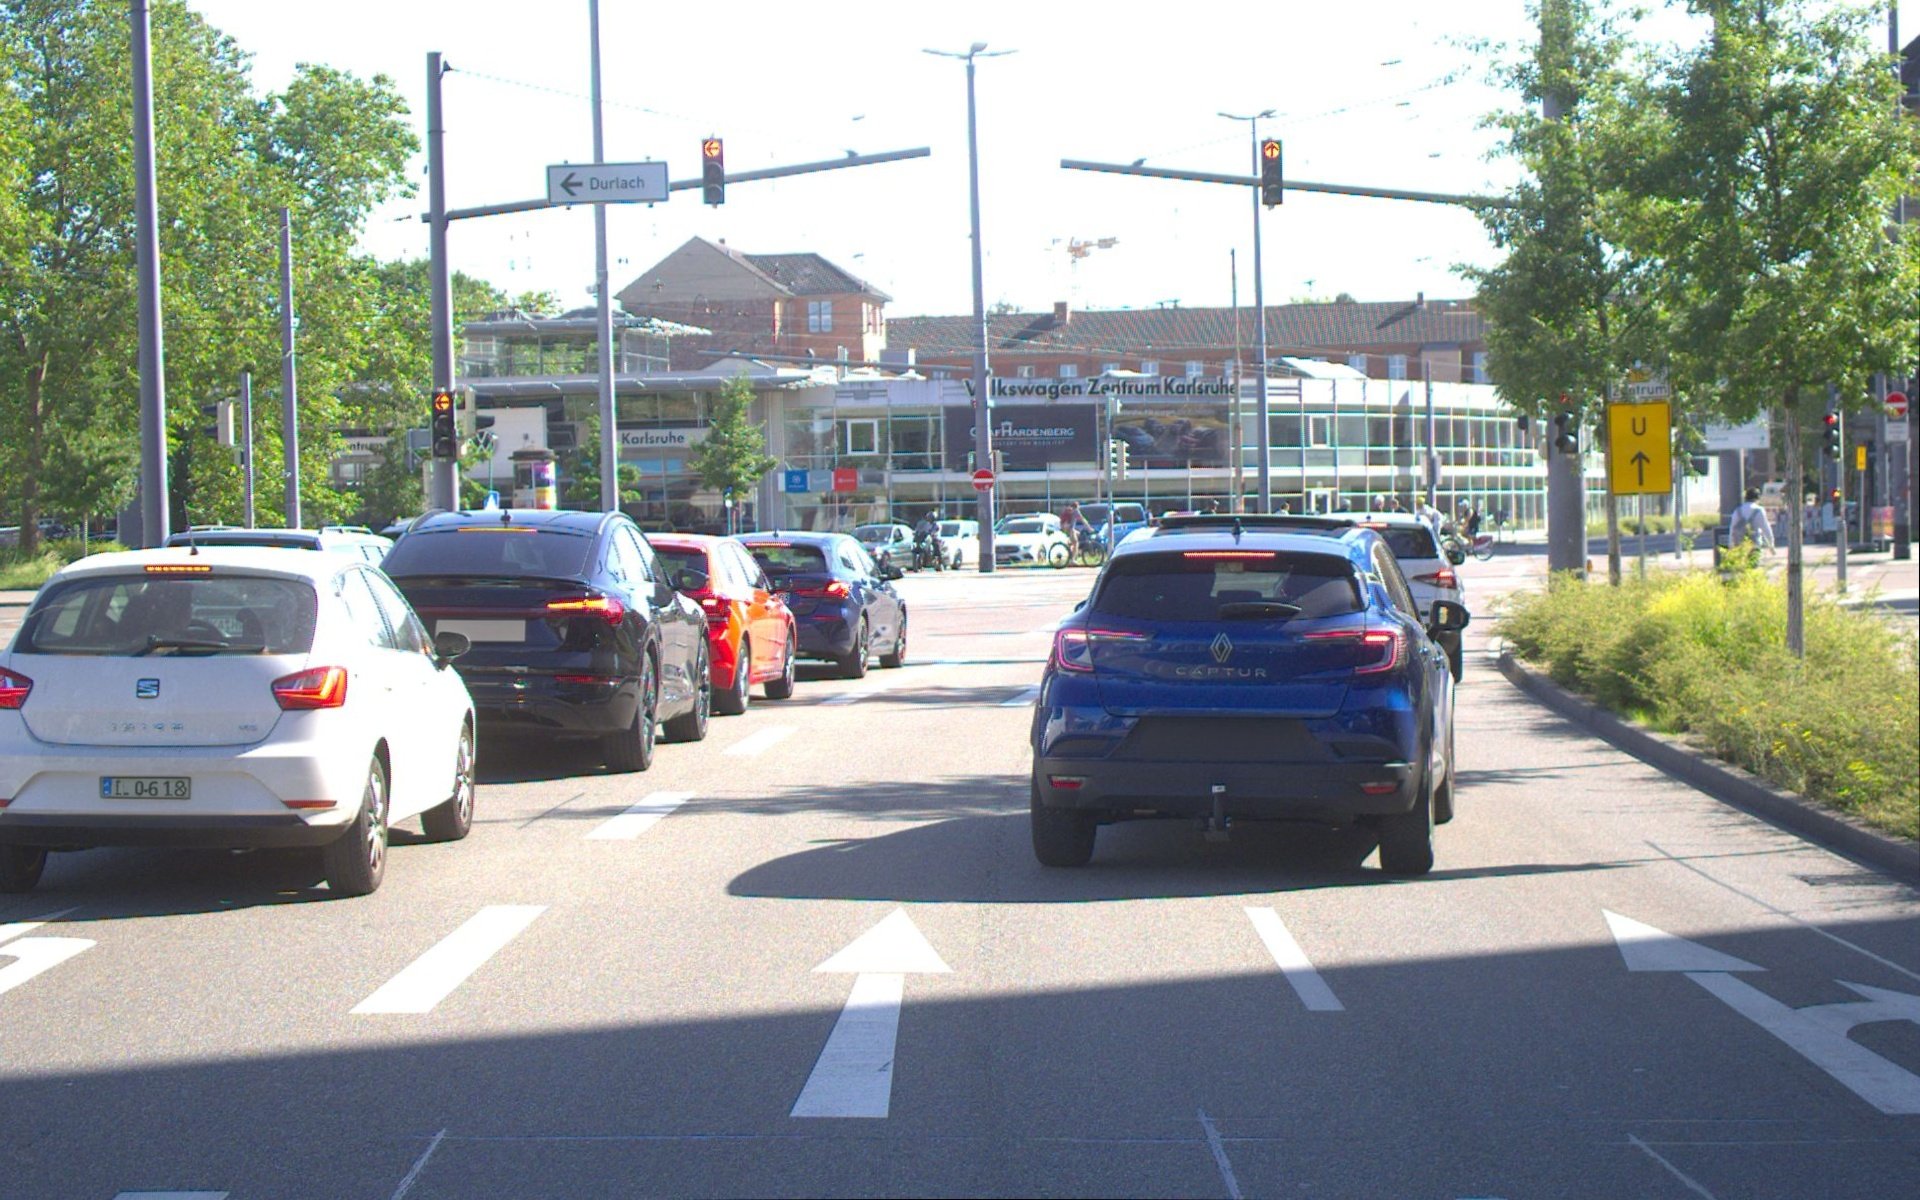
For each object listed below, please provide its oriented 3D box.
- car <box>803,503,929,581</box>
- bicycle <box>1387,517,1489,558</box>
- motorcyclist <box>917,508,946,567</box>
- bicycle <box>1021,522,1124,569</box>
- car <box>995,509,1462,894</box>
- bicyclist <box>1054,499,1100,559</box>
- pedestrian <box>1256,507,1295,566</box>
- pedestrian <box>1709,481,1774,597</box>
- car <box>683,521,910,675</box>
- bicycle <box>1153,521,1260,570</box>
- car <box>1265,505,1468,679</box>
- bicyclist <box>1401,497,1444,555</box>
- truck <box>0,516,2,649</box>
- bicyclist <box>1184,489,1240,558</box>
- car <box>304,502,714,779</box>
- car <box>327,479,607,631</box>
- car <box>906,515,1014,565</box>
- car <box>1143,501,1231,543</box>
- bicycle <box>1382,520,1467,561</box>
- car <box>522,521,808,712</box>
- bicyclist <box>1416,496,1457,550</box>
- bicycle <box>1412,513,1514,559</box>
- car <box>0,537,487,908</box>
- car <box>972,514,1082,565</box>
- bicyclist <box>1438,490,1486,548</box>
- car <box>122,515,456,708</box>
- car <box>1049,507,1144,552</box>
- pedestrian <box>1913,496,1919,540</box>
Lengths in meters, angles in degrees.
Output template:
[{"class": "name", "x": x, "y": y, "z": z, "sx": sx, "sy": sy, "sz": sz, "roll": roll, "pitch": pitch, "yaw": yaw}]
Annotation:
[{"class": "car", "x": -2.636, "y": -1.652, "z": 97.077, "sx": 1.996, "sy": 2.006, "sz": 3.996, "roll": 1, "pitch": 4, "yaw": 24}, {"class": "bicycle", "x": 12.999, "y": -1.704, "z": 93.532, "sx": 2.643, "sy": 1.091, "sz": 0.969, "roll": -1, "pitch": 1, "yaw": 1}, {"class": "motorcyclist", "x": -0.794, "y": -1.752, "z": 96.287, "sx": 0.550, "sy": 1.615, "sz": 0.744, "roll": 0, "pitch": 1, "yaw": 20}, {"class": "bicycle", "x": 3.050, "y": -1.487, "z": 93.518, "sx": 2.645, "sy": 1.184, "sz": 0.948, "roll": -1, "pitch": 4, "yaw": -12}, {"class": "car", "x": 1.414, "y": 0.380, "z": 16.641, "sx": 1.877, "sy": 1.612, "sz": 3.796, "roll": 1, "pitch": 2, "yaw": 10}, {"class": "bicyclist", "x": 3.178, "y": -1.923, "z": 93.506, "sx": 1.062, "sy": 1.578, "sz": 0.948, "roll": -1, "pitch": 3, "yaw": -12}, {"class": "pedestrian", "x": 8.838, "y": -1.782, "z": 96.219, "sx": 0.849, "sy": 1.605, "sz": 0.703, "roll": -3, "pitch": 5, "yaw": -43}, {"class": "pedestrian", "x": 11.770, "y": -0.915, "z": 51.753, "sx": 0.595, "sy": 1.717, "sz": 0.868, "roll": -1, "pitch": -1, "yaw": 42}, {"class": "car", "x": -1.614, "y": -0.068, "z": 35.097, "sx": 1.725, "sy": 1.437, "sz": 3.798, "roll": 1, "pitch": 2, "yaw": 6}, {"class": "bicycle", "x": 6.503, "y": -1.443, "z": 90.754, "sx": 2.645, "sy": 1.184, "sz": 0.948, "roll": -2, "pitch": 4, "yaw": -19}, {"class": "car", "x": 4.063, "y": -0.117, "z": 34.108, "sx": 1.877, "sy": 1.612, "sz": 3.624, "roll": 1, "pitch": 1, "yaw": 8}, {"class": "bicyclist", "x": 12.752, "y": -2.039, "z": 94.787, "sx": 0.985, "sy": 1.598, "sz": 0.759, "roll": -1, "pitch": 1, "yaw": -11}, {"class": "truck", "x": -13.883, "y": -0.447, "z": 39.587, "sx": 2.216, "sy": 2.305, "sz": 6.879, "roll": 0, "pitch": 1, "yaw": 16}, {"class": "bicyclist", "x": 6.648, "y": -2.037, "z": 90.784, "sx": 1.183, "sy": 1.770, "sz": 0.948, "roll": -2, "pitch": 4, "yaw": -19}, {"class": "car", "x": -2.817, "y": 0.187, "z": 22.452, "sx": 1.984, "sy": 1.618, "sz": 4.378, "roll": 0, "pitch": 1, "yaw": 2}, {"class": "car", "x": -5.017, "y": -0.486, "z": 35.504, "sx": 1.726, "sy": 1.437, "sz": 3.908, "roll": 2, "pitch": 2, "yaw": 10}, {"class": "car", "x": 0.022, "y": -1.830, "z": 103.881, "sx": 1.727, "sy": 1.437, "sz": 4.179, "roll": 0, "pitch": 1, "yaw": 24}, {"class": "car", "x": 8.032, "y": -2.739, "z": 121.331, "sx": 1.727, "sy": 1.437, "sz": 4.179, "roll": 2, "pitch": 2, "yaw": 24}, {"class": "bicycle", "x": 12.801, "y": -1.637, "z": 94.813, "sx": 2.177, "sy": 1.091, "sz": 0.759, "roll": -1, "pitch": 1, "yaw": -11}, {"class": "car", "x": -2.388, "y": 0.084, "z": 28.644, "sx": 1.672, "sy": 1.437, "sz": 3.721, "roll": 1, "pitch": 2, "yaw": 6}, {"class": "bicyclist", "x": 12.953, "y": -2.090, "z": 93.523, "sx": 0.962, "sy": 1.444, "sz": 0.969, "roll": -1, "pitch": 1, "yaw": 0}, {"class": "bicycle", "x": 14.061, "y": -1.793, "z": 96.122, "sx": 2.645, "sy": 1.184, "sz": 0.948, "roll": -1, "pitch": 4, "yaw": -12}, {"class": "car", "x": -3.233, "y": 0.450, "z": 15.432, "sx": 1.691, "sy": 1.431, "sz": 3.737, "roll": 1, "pitch": 1, "yaw": 0}, {"class": "car", "x": 1.992, "y": -1.787, "z": 100.651, "sx": 1.727, "sy": 1.437, "sz": 4.179, "roll": 0, "pitch": 1, "yaw": 24}, {"class": "bicyclist", "x": 14.033, "y": -2.265, "z": 96.118, "sx": 1.062, "sy": 1.578, "sz": 0.948, "roll": -1, "pitch": 3, "yaw": -12}, {"class": "car", "x": -5.433, "y": 0.038, "z": 28.273, "sx": 1.725, "sy": 1.437, "sz": 3.798, "roll": 1, "pitch": 2, "yaw": 4}, {"class": "car", "x": 4.563, "y": -2.341, "z": 114.742, "sx": 1.727, "sy": 1.437, "sz": 4.179, "roll": 2, "pitch": 2, "yaw": 24}, {"class": "pedestrian", "x": 31.209, "y": -2.650, "z": 111.113, "sx": 0.598, "sy": 1.404, "sz": 0.800, "roll": 0, "pitch": 3, "yaw": 0}]
